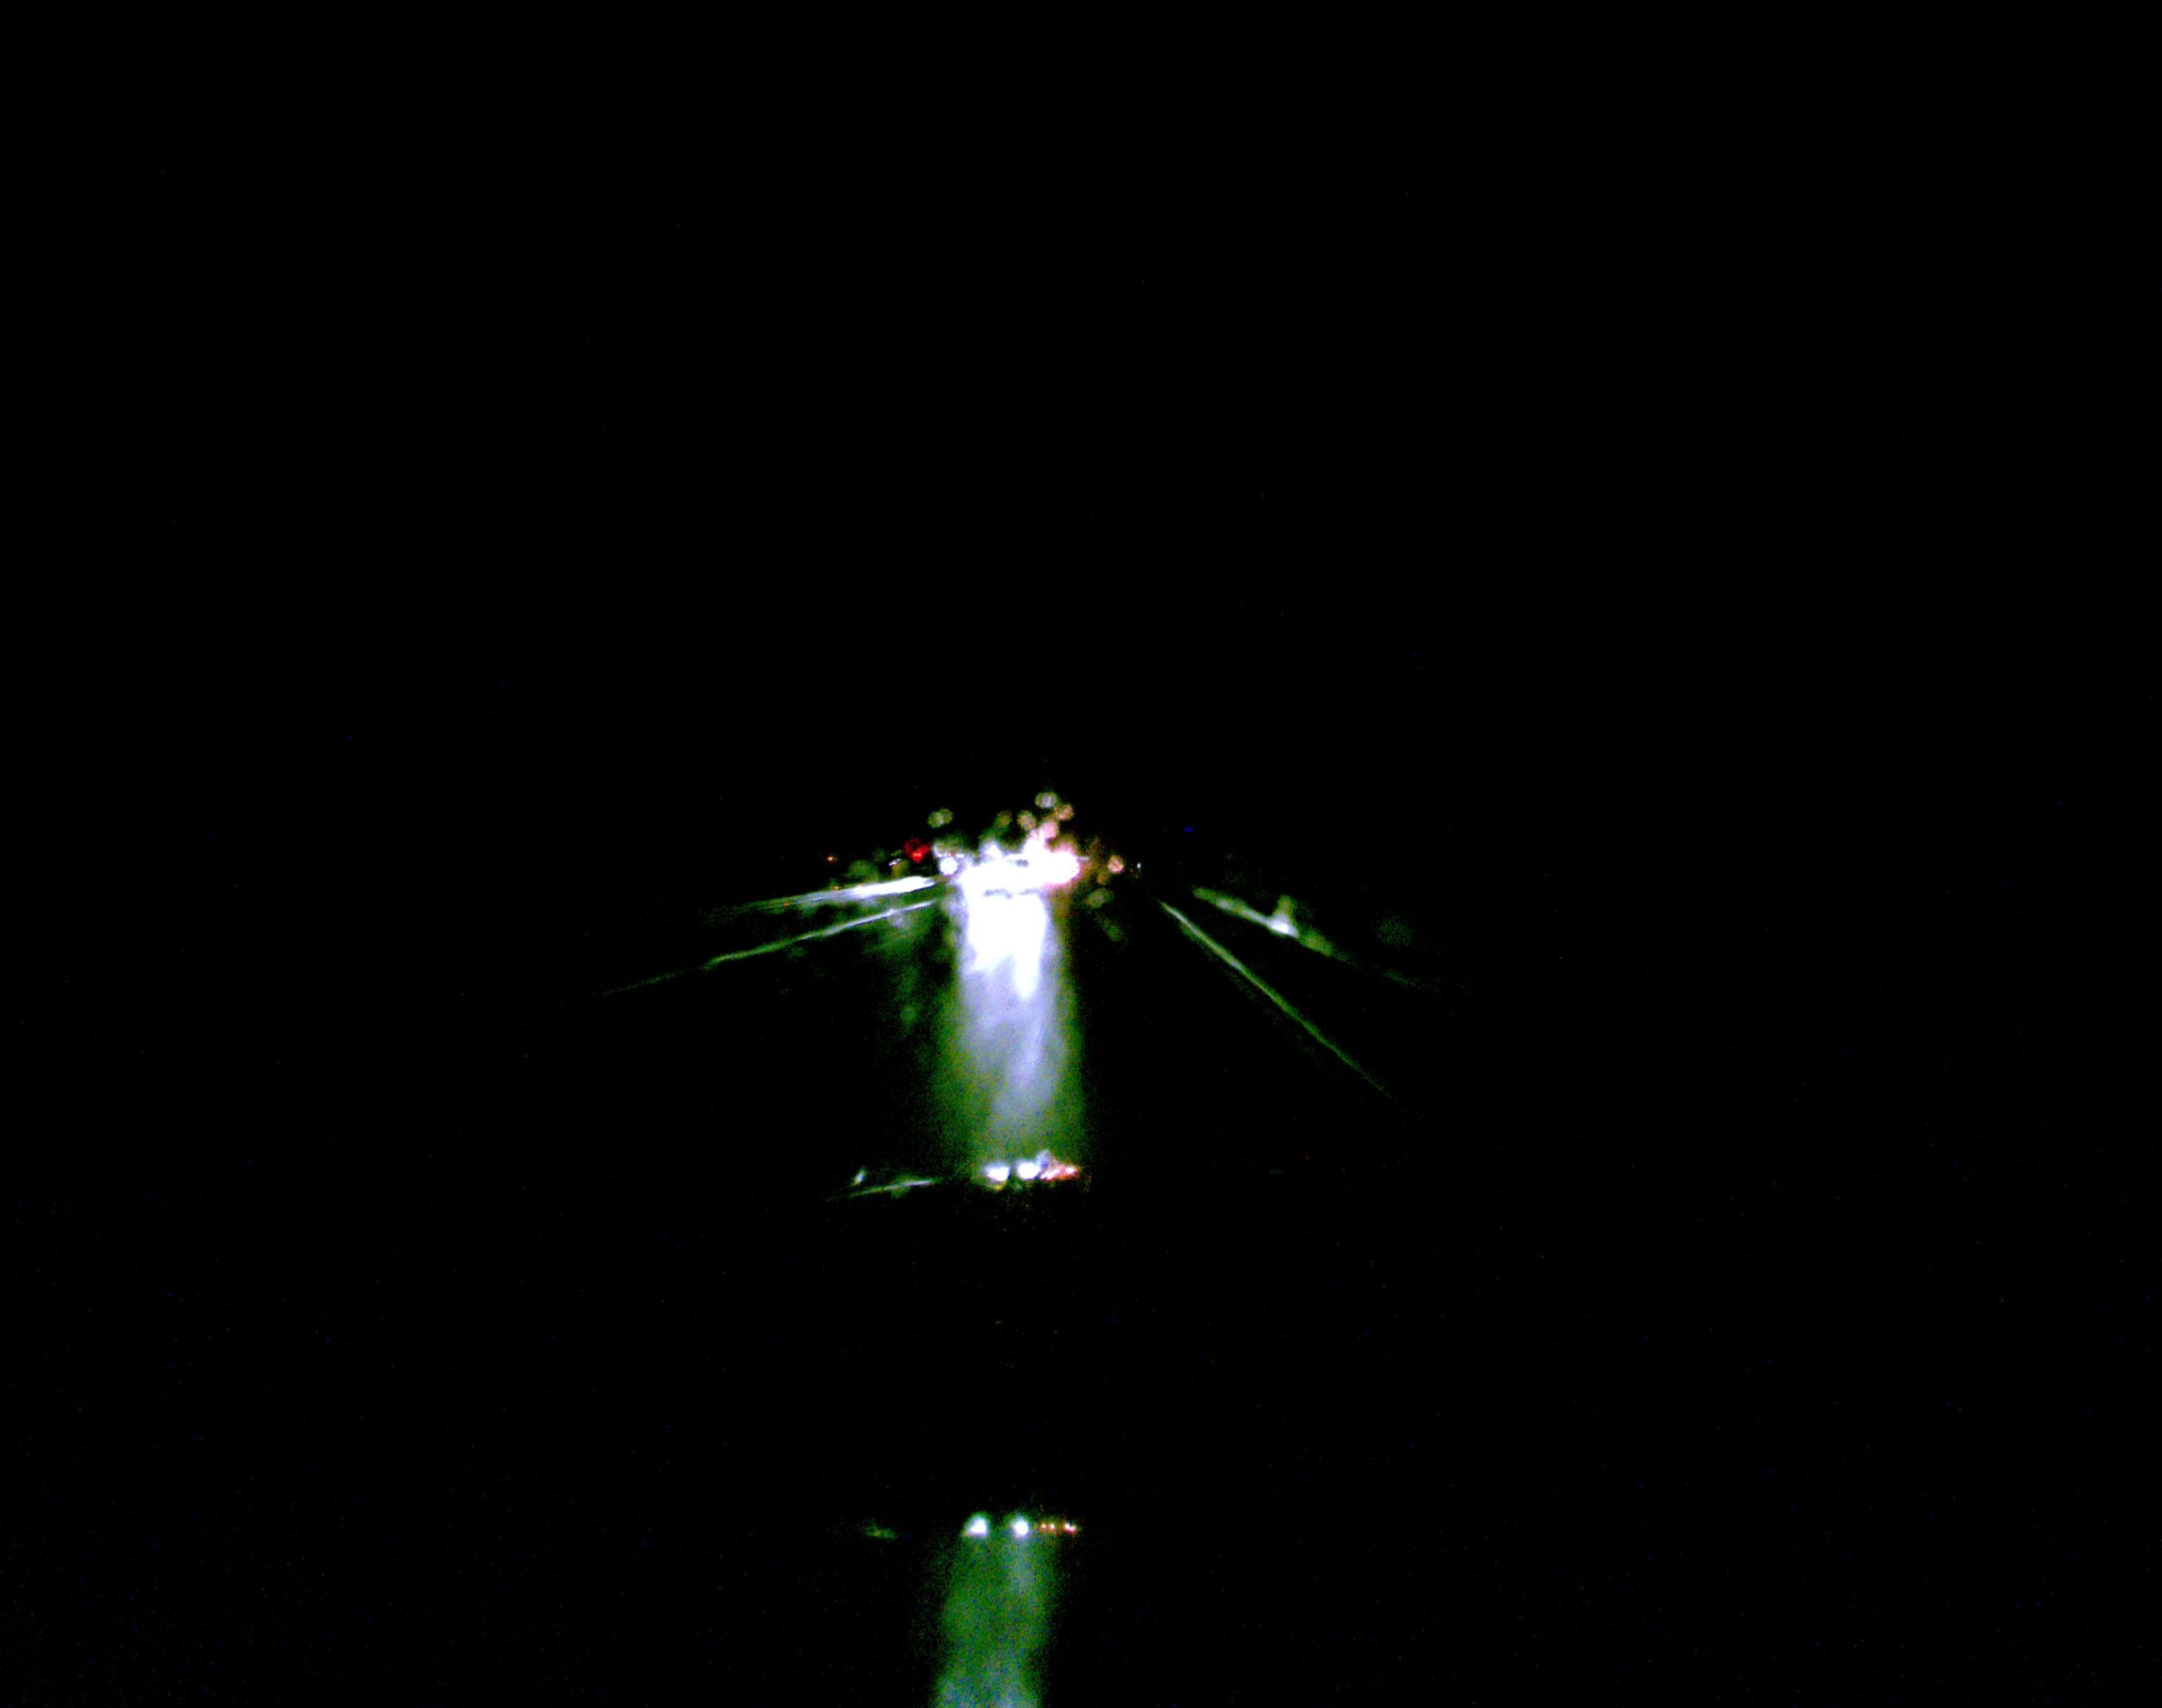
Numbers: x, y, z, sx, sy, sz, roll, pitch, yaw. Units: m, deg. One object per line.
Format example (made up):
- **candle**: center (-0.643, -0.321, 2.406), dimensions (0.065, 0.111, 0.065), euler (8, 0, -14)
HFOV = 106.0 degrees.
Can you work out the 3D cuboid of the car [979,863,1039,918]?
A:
- **car**: center (-2.884, 1.443, 33.343), dimensions (1.987, 2.014, 3.999), euler (3, -2, 0)
